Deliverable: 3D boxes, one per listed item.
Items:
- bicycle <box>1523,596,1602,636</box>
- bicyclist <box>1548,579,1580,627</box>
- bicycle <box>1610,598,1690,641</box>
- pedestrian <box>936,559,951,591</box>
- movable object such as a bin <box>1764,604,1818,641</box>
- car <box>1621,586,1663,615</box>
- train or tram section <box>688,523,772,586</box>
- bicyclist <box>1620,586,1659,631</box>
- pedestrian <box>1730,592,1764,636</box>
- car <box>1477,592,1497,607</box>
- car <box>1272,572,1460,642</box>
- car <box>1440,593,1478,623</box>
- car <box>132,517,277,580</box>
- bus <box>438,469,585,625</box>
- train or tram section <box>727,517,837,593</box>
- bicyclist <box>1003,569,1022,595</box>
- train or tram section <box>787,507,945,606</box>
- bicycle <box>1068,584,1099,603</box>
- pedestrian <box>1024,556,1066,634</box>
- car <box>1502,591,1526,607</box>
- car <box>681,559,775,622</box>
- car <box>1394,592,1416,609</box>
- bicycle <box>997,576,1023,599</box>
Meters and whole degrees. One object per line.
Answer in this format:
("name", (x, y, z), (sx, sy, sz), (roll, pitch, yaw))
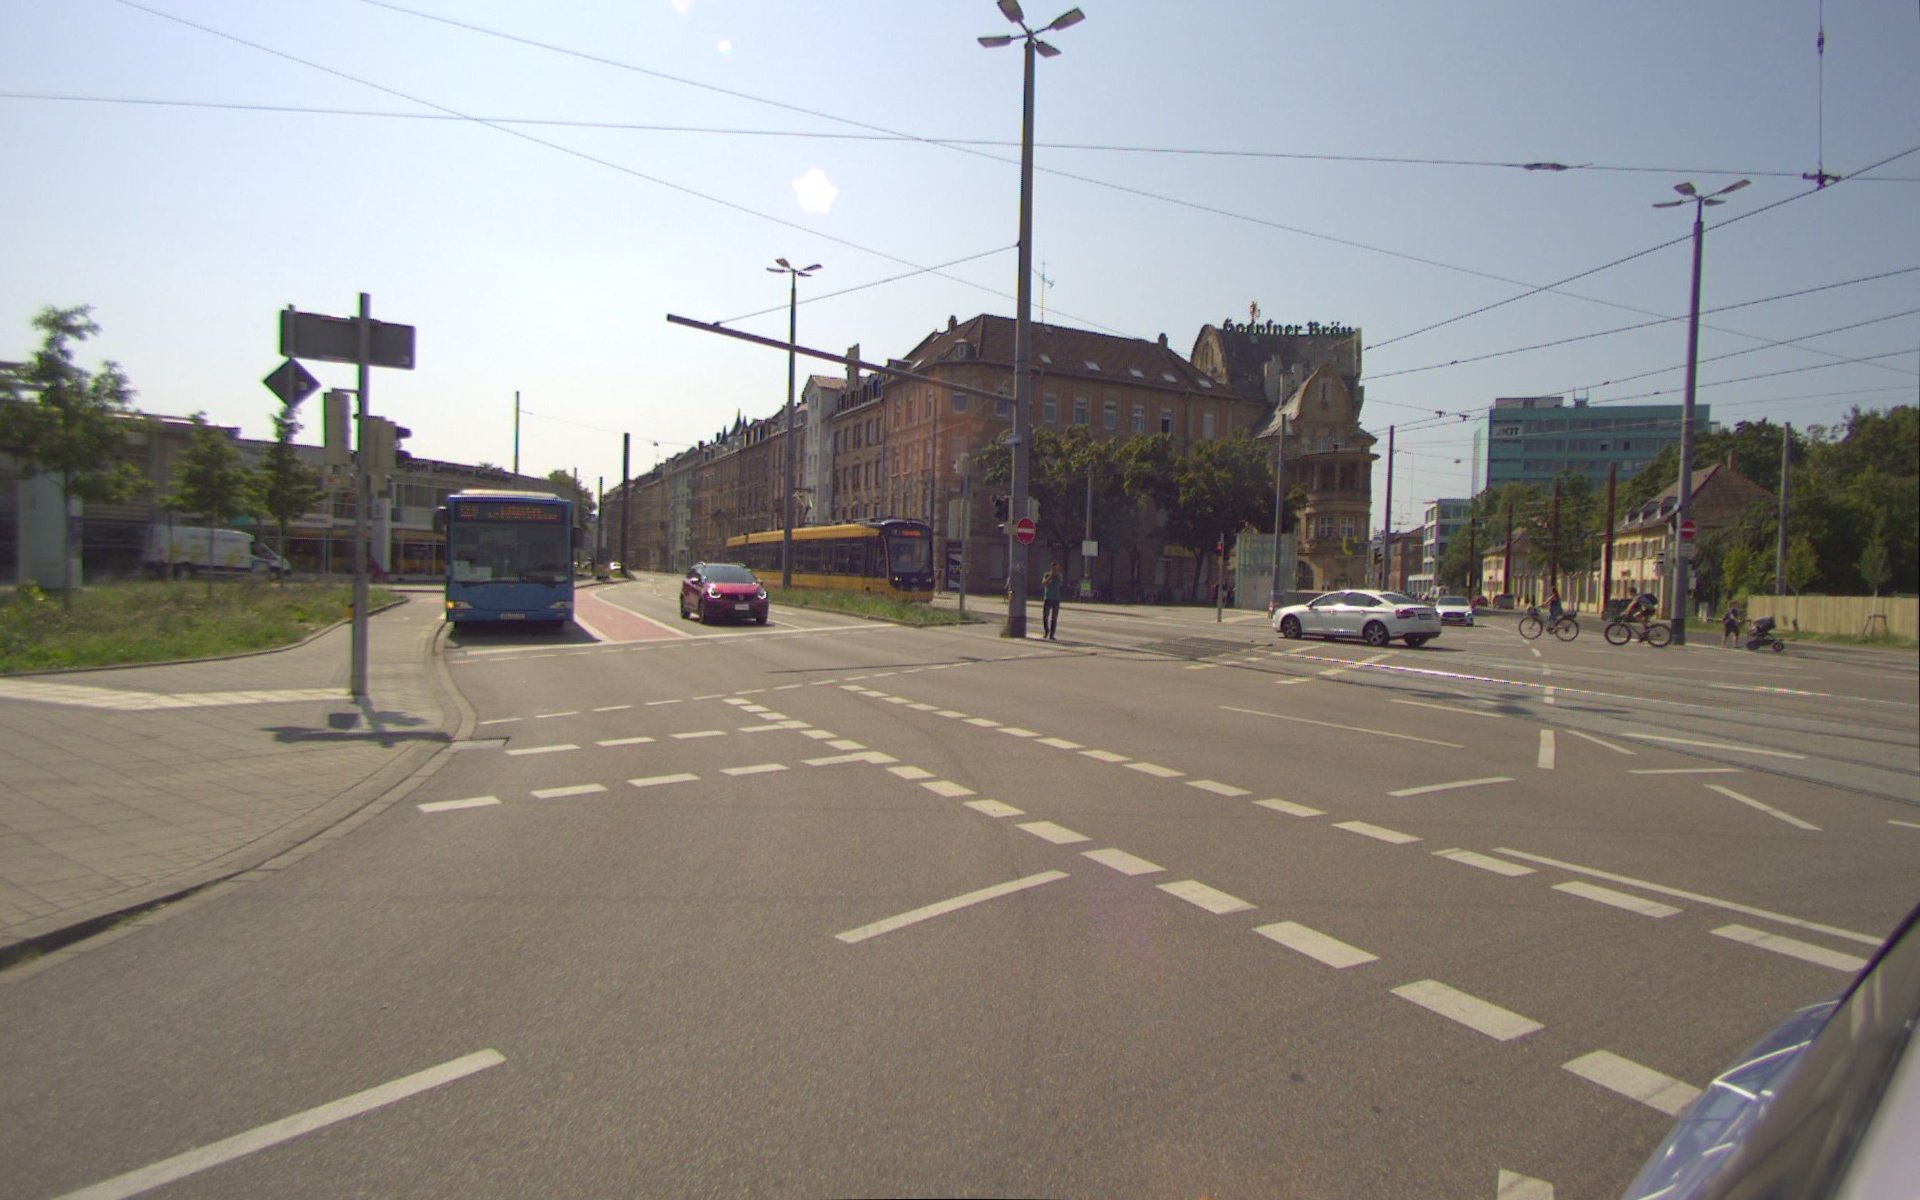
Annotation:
("bicycle", (19.162, 0.489, 32.235), (0.433, 1.125, 2.128), (1, 2, -37))
("bicyclist", (19.209, 0.090, 32.192), (0.646, 1.499, 0.644), (1, 1, -37))
("bicycle", (19.971, 0.561, 29.332), (1.841, 1.125, 0.705), (3, 2, 32))
("pedestrian", (-1.079, -1.618, 64.876), (0.638, 2.038, 0.704), (1, 1, -30))
("movable object such as a bin", (26.412, 0.719, 32.175), (0.803, 1.098, 1.040), (3, 0, -17))
("car", (51.444, 0.029, 76.416), (1.980, 2.039, 3.964), (3, 0, 25))
("train or tram section", (-15.083, -2.957, 65.486), (2.542, 3.604, 12.241), (1, 2, -26))
("bicyclist", (19.779, 0.232, 29.473), (0.858, 1.249, 1.089), (3, 1, 32))
("pedestrian", (25.744, 0.443, 33.088), (0.813, 1.368, 0.709), (3, 1, 40))
("car", (72.231, -0.044, 138.751), (1.978, 1.928, 3.969), (3, 0, 23))
("car", (10.846, 0.127, 27.414), (1.736, 1.638, 4.609), (1, 2, -30))
("car", (24.296, 0.363, 49.268), (1.573, 1.304, 3.693), (3, 1, 27))
("car", (-35.789, -2.381, 48.090), (1.834, 2.617, 5.158), (3, 0, 31))
("bus", (-11.661, -1.279, 26.324), (2.677, 3.102, 12.108), (2, 2, -24))
("train or tram section", (-9.889, -2.427, 54.732), (2.542, 3.604, 12.241), (1, 2, -26))
("bicyclist", (2.654, -0.909, 51.296), (0.646, 1.269, 0.644), (1, 1, -36))
("train or tram section", (-4.428, -1.877, 43.460), (2.542, 3.604, 12.241), (1, 2, -26))
("bicycle", (6.716, -0.370, 55.128), (1.753, 0.969, 0.462), (1, 1, -32))
("pedestrian", (1.940, -0.115, 23.036), (0.792, 1.708, 0.717), (3, 1, 11))
("car", (66.650, -0.093, 121.775), (1.978, 1.705, 3.969), (3, 0, 23))
("car", (-6.166, -0.321, 26.650), (1.596, 1.490, 3.779), (-1, 3, -26))
("car", (40.136, 0.063, 91.372), (1.357, 1.415, 3.237), (3, 0, 17))
("bicycle", (2.538, -0.654, 51.588), (0.432, 1.125, 1.645), (1, 2, -30))
